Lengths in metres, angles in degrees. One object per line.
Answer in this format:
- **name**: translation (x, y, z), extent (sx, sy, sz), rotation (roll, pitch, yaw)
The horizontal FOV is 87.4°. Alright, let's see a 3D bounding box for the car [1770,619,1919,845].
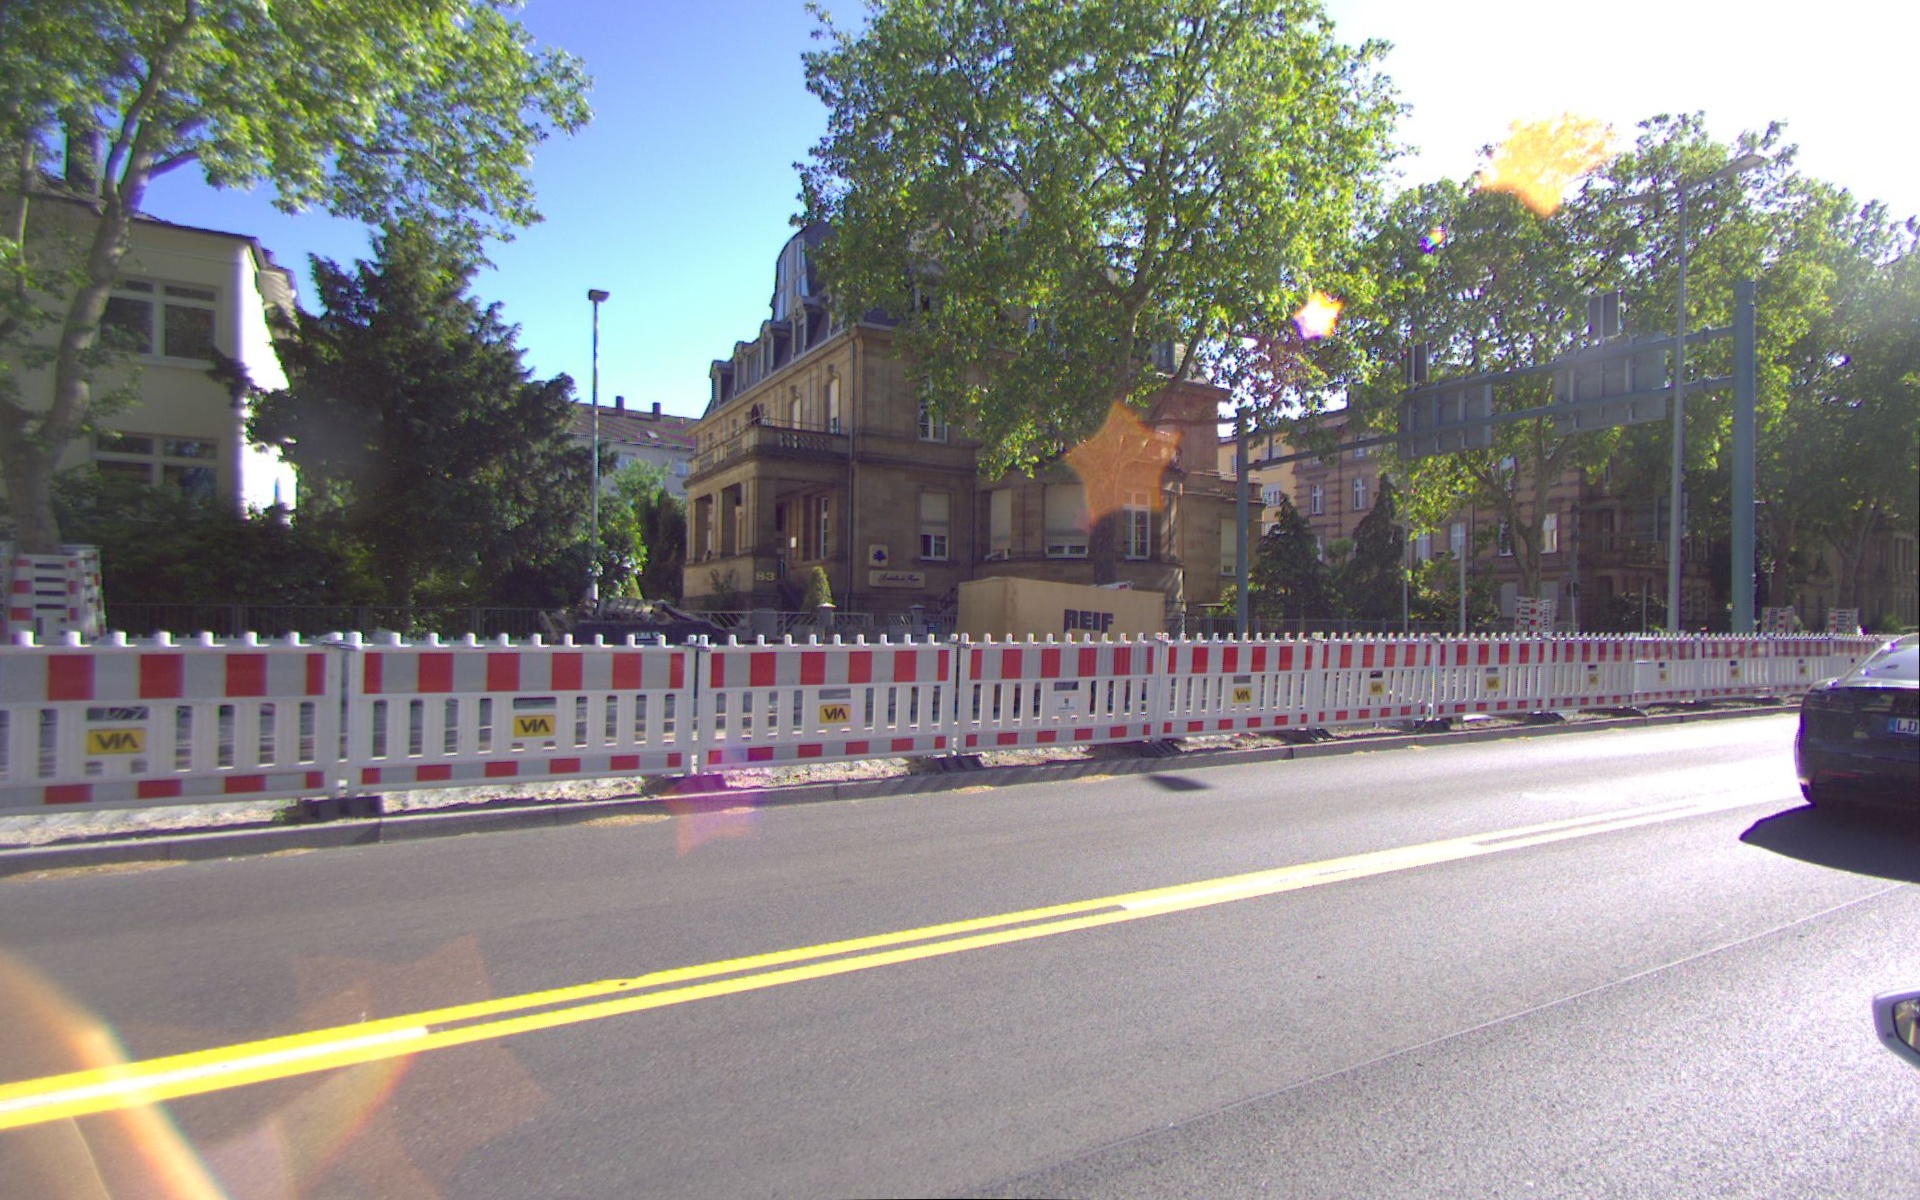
- **car**: translation (8.375, 0.938, 7.789), extent (4.424, 1.503, 1.829), rotation (1, -1, -30)
